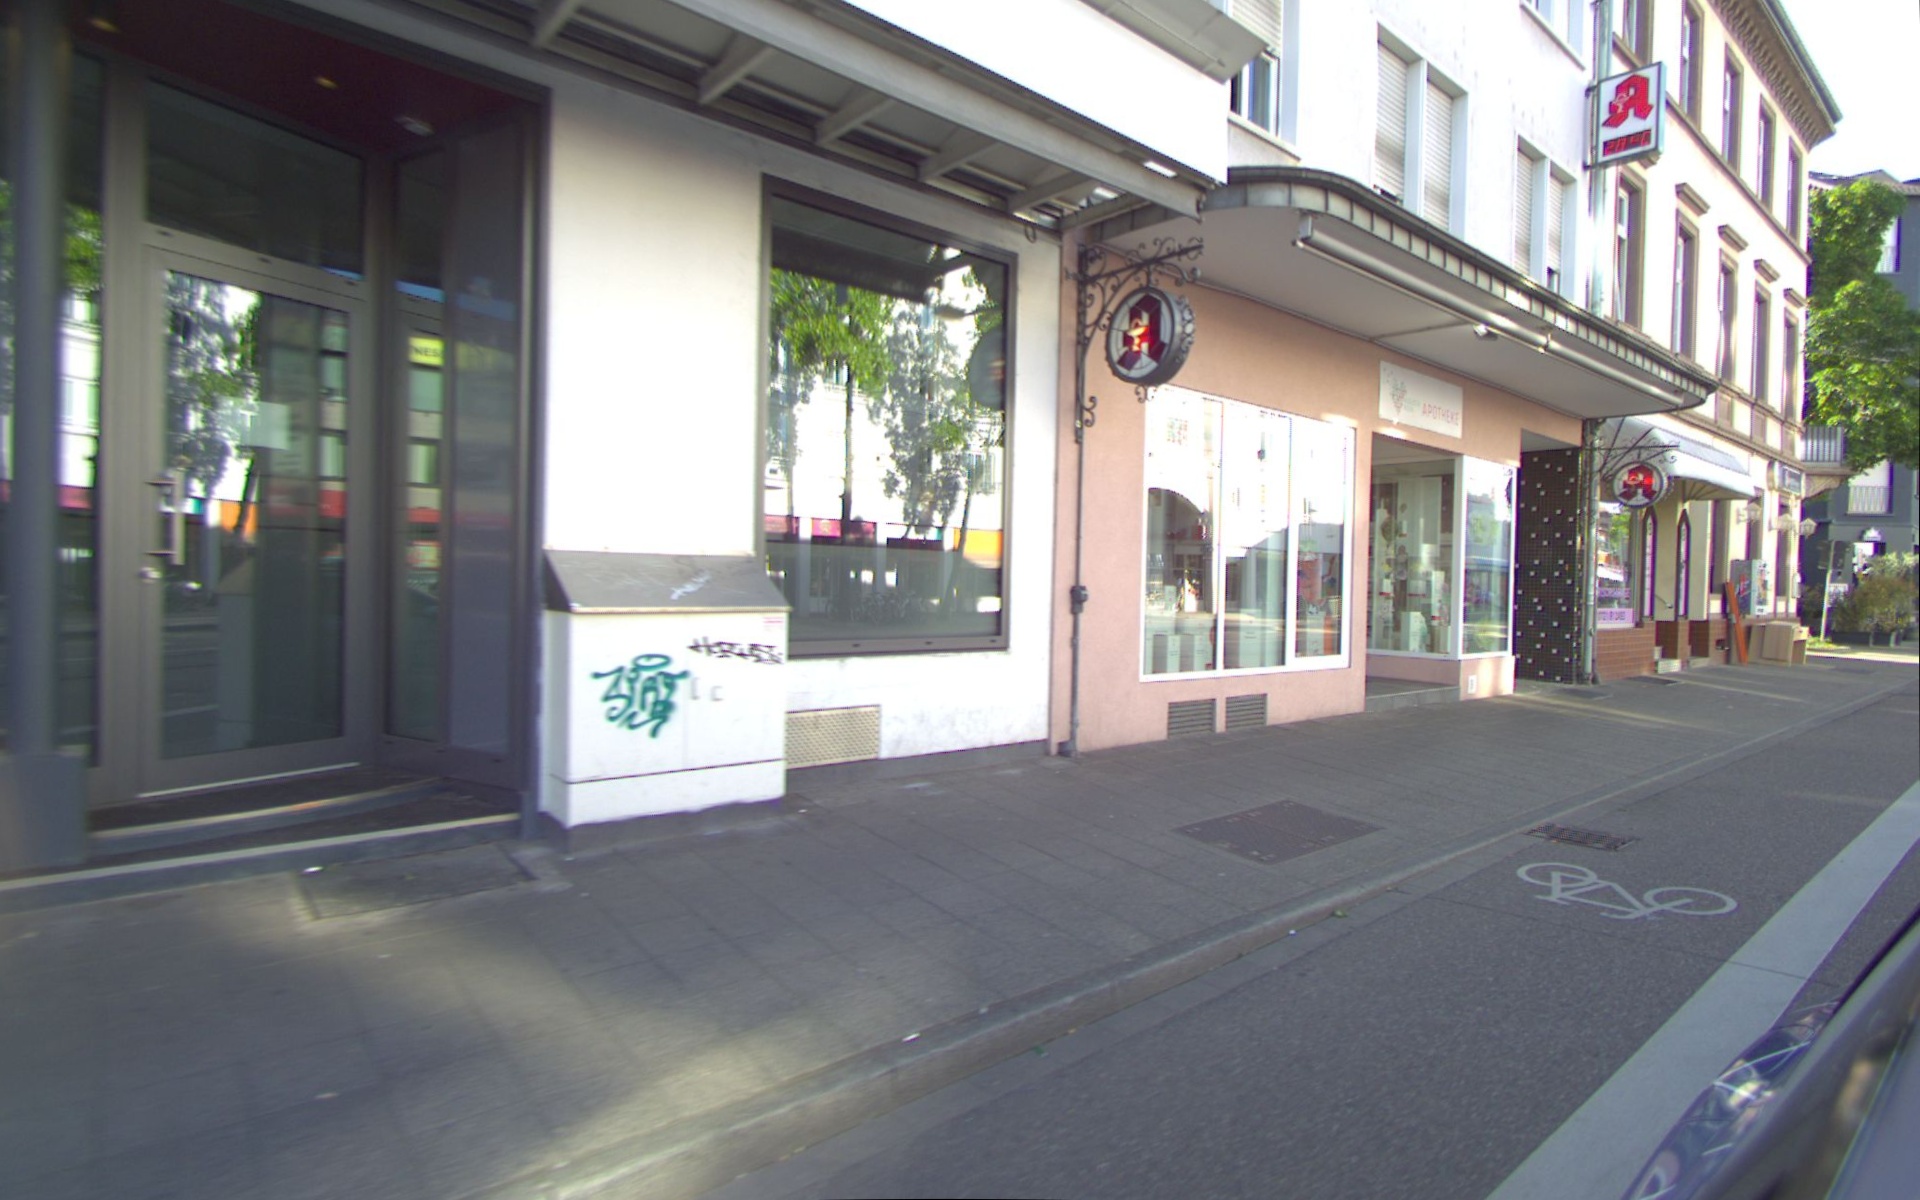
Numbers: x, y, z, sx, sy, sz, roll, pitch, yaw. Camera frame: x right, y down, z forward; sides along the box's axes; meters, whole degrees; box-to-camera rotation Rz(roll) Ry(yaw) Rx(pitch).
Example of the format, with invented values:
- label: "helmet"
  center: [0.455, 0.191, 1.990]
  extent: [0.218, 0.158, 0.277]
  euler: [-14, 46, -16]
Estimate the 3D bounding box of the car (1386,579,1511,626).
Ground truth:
- label: "car"
  center: [16.659, 0.068, 34.575]
  extent: [3.581, 1.549, 1.650]
  euler: [0, 1, -14]
